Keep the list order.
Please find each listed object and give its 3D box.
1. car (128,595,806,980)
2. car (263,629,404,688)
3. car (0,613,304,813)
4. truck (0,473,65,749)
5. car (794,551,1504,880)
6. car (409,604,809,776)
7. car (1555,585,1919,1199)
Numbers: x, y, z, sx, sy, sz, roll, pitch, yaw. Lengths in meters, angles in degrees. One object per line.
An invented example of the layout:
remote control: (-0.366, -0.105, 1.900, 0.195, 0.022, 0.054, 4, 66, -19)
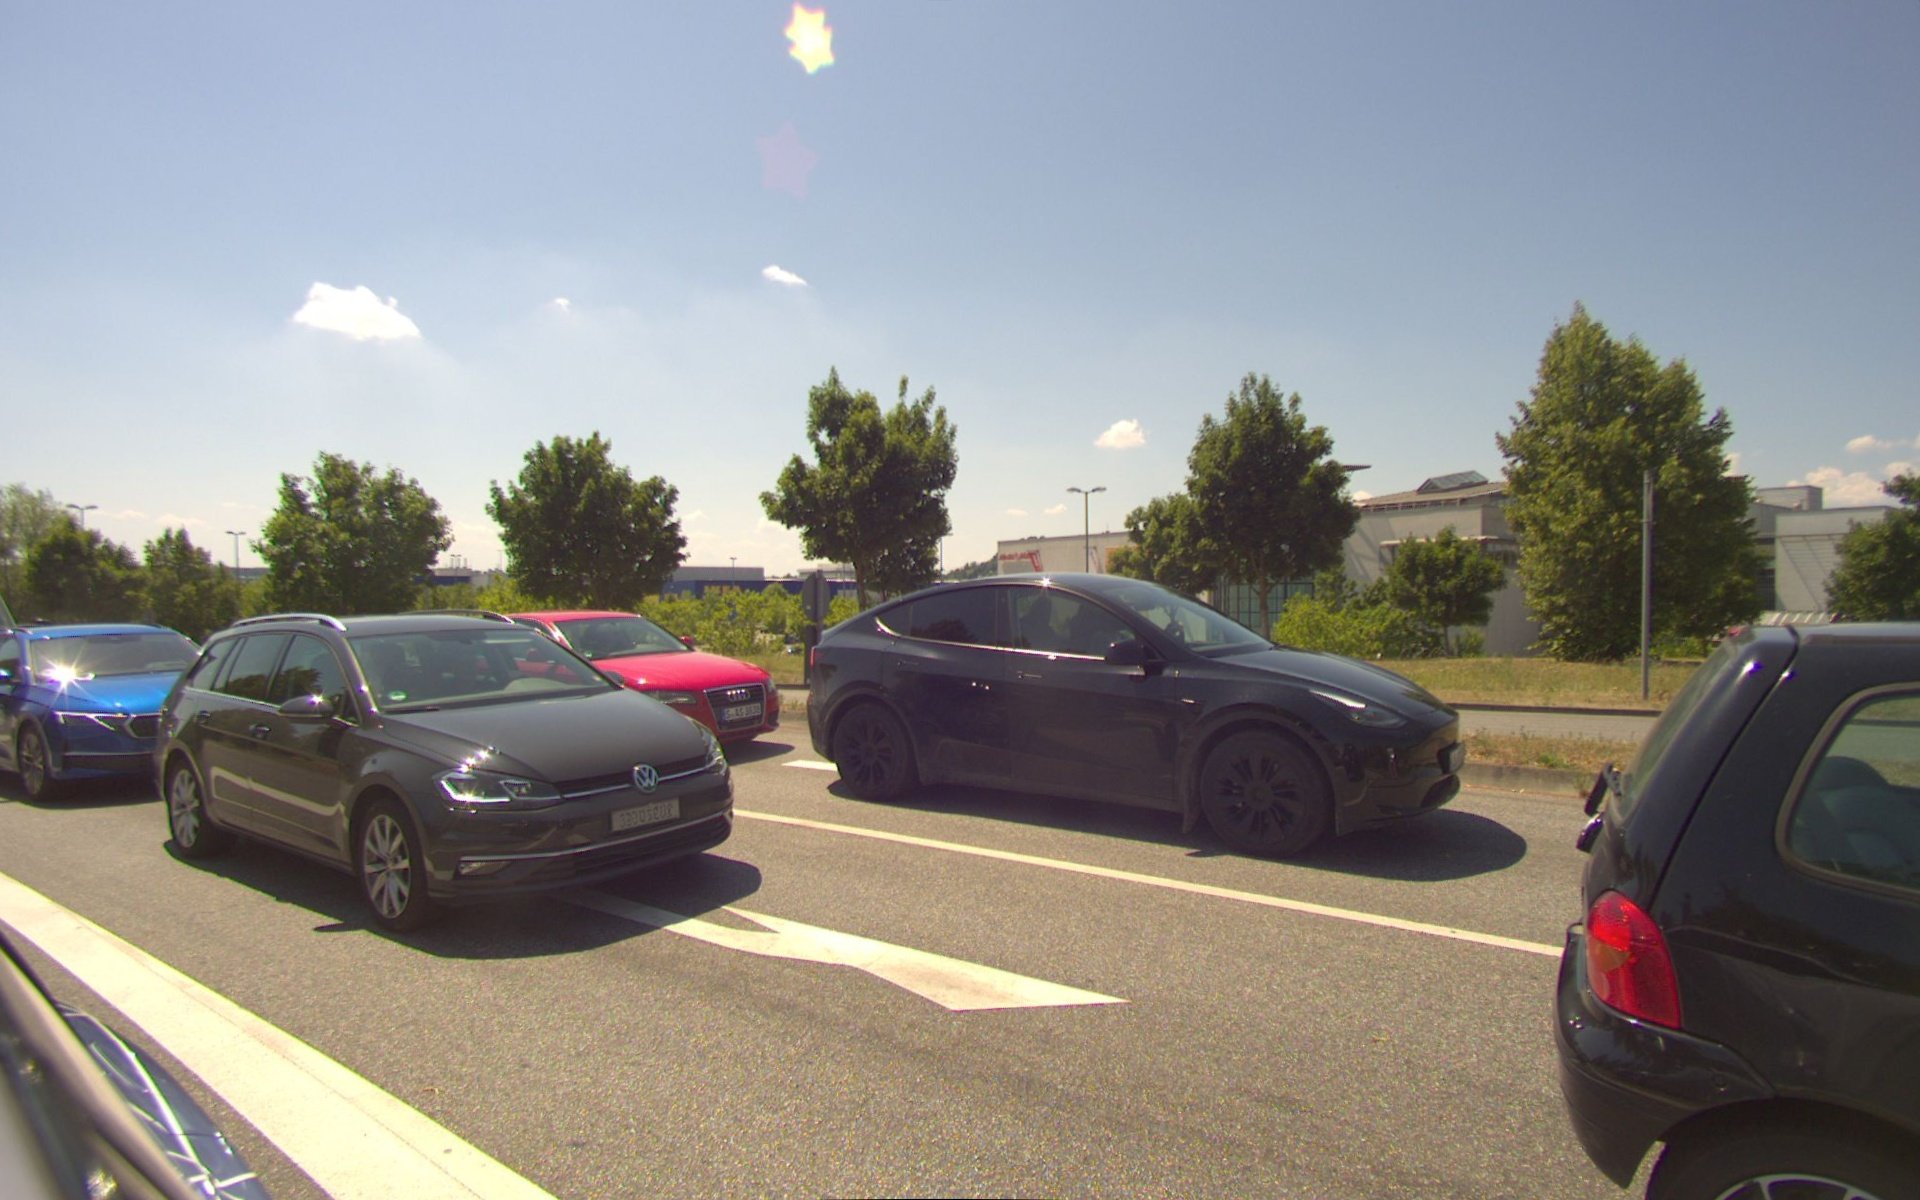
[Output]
car: (-3.119, 0.768, 5.987, 4.420, 1.493, 1.762, -1, 0, 36)
car: (-22.810, 2.109, 36.937, 3.947, 1.975, 1.998, -1, 0, 3)
car: (-8.310, 0.947, 9.635, 4.474, 1.473, 1.695, -2, 0, 32)
truck: (-15.098, 0.278, 13.713, 7.176, 3.373, 2.390, -3, -1, 31)
car: (1.119, 0.585, 7.037, 4.496, 1.613, 1.859, -1, 0, 36)
car: (-3.757, 0.783, 10.477, 4.440, 1.399, 1.646, -1, 1, 36)
car: (2.894, 0.675, 1.518, 3.295, 1.418, 1.604, -1, 0, 37)
